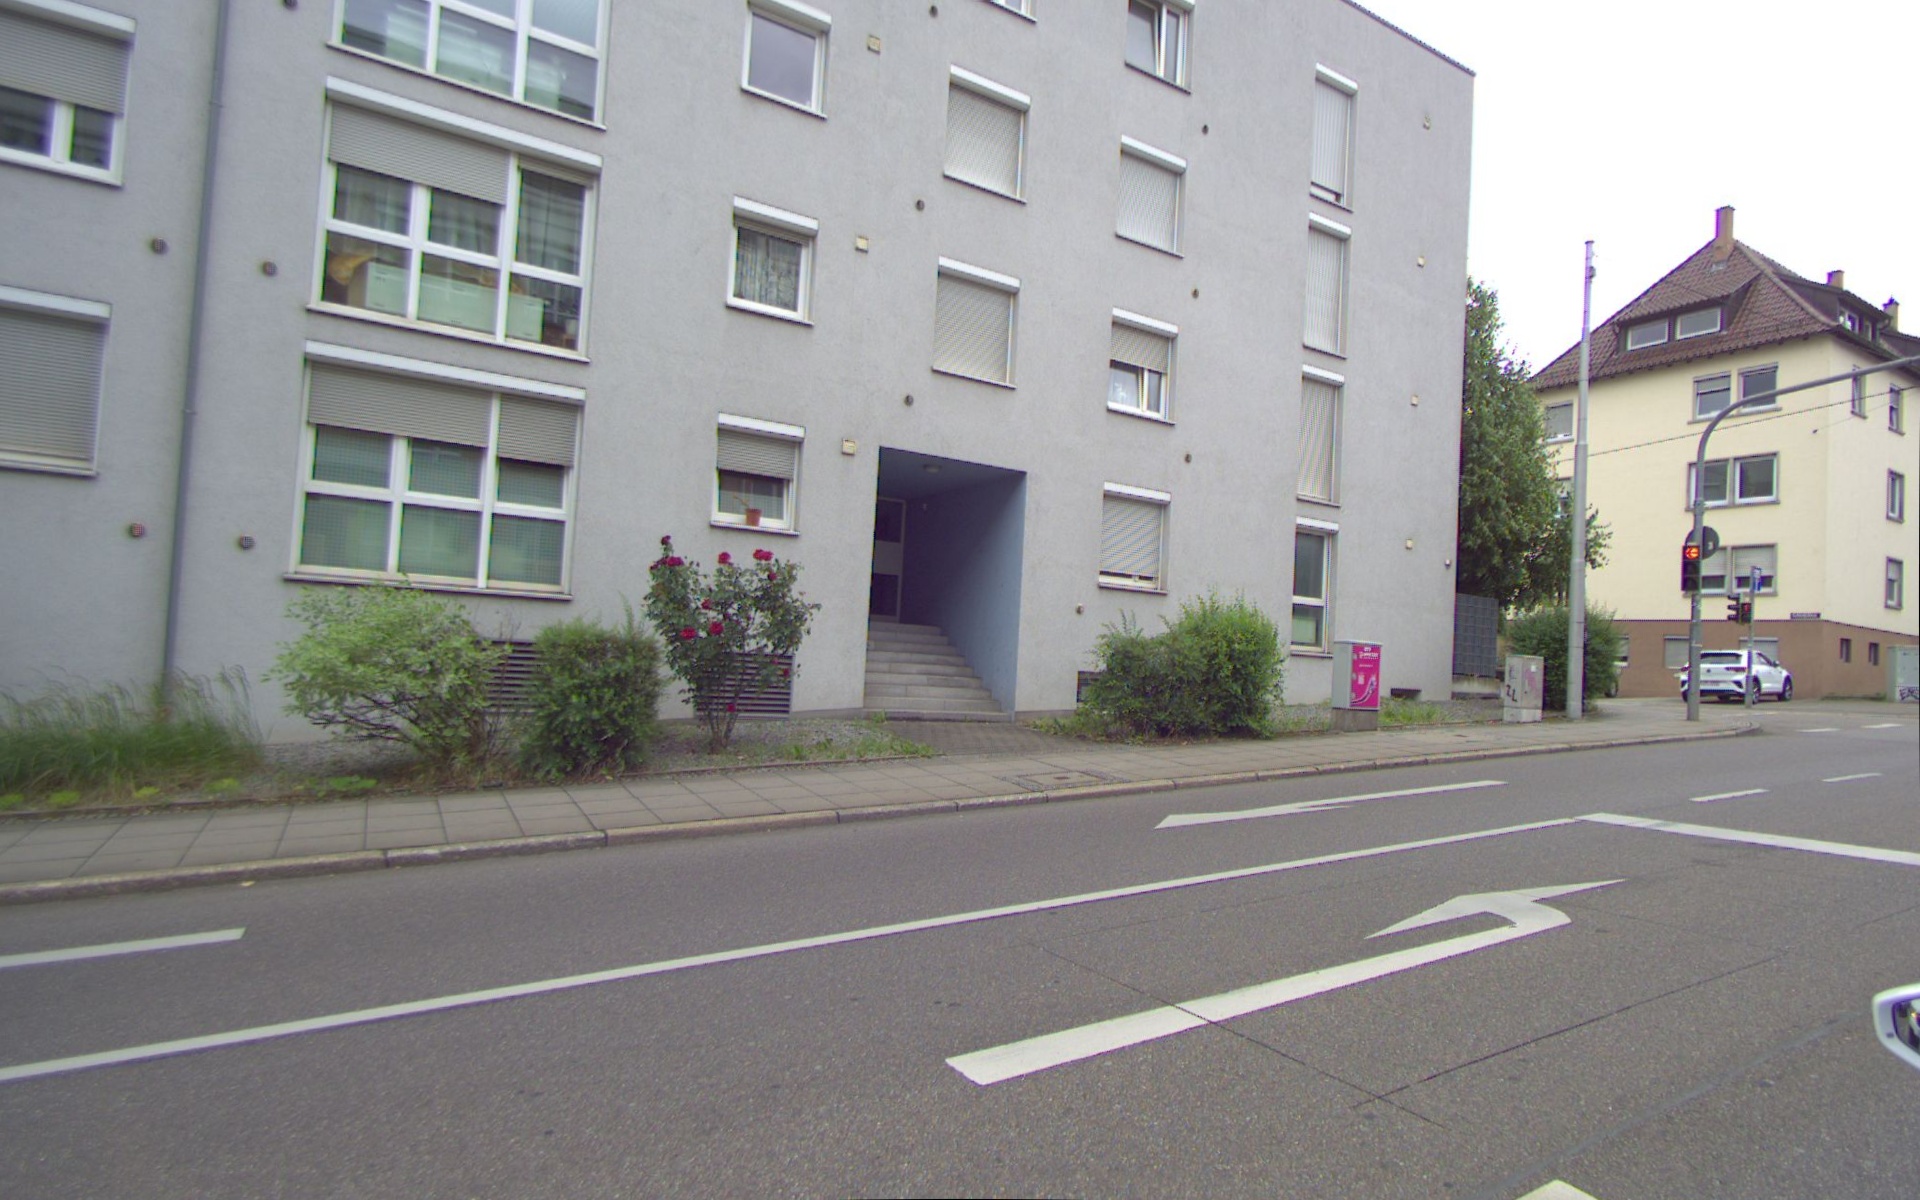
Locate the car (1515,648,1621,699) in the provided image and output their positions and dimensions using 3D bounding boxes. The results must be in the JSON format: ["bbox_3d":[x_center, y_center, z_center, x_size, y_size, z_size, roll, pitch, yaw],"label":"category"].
[{"bbox_3d":[20.929,2.490,34.533,3.727,1.629,1.681,1,-4,-34],"label":"car"}]

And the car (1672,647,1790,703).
[{"bbox_3d":[23.042,2.202,29.999,3.727,1.575,1.681,1,-4,-34],"label":"car"}]
